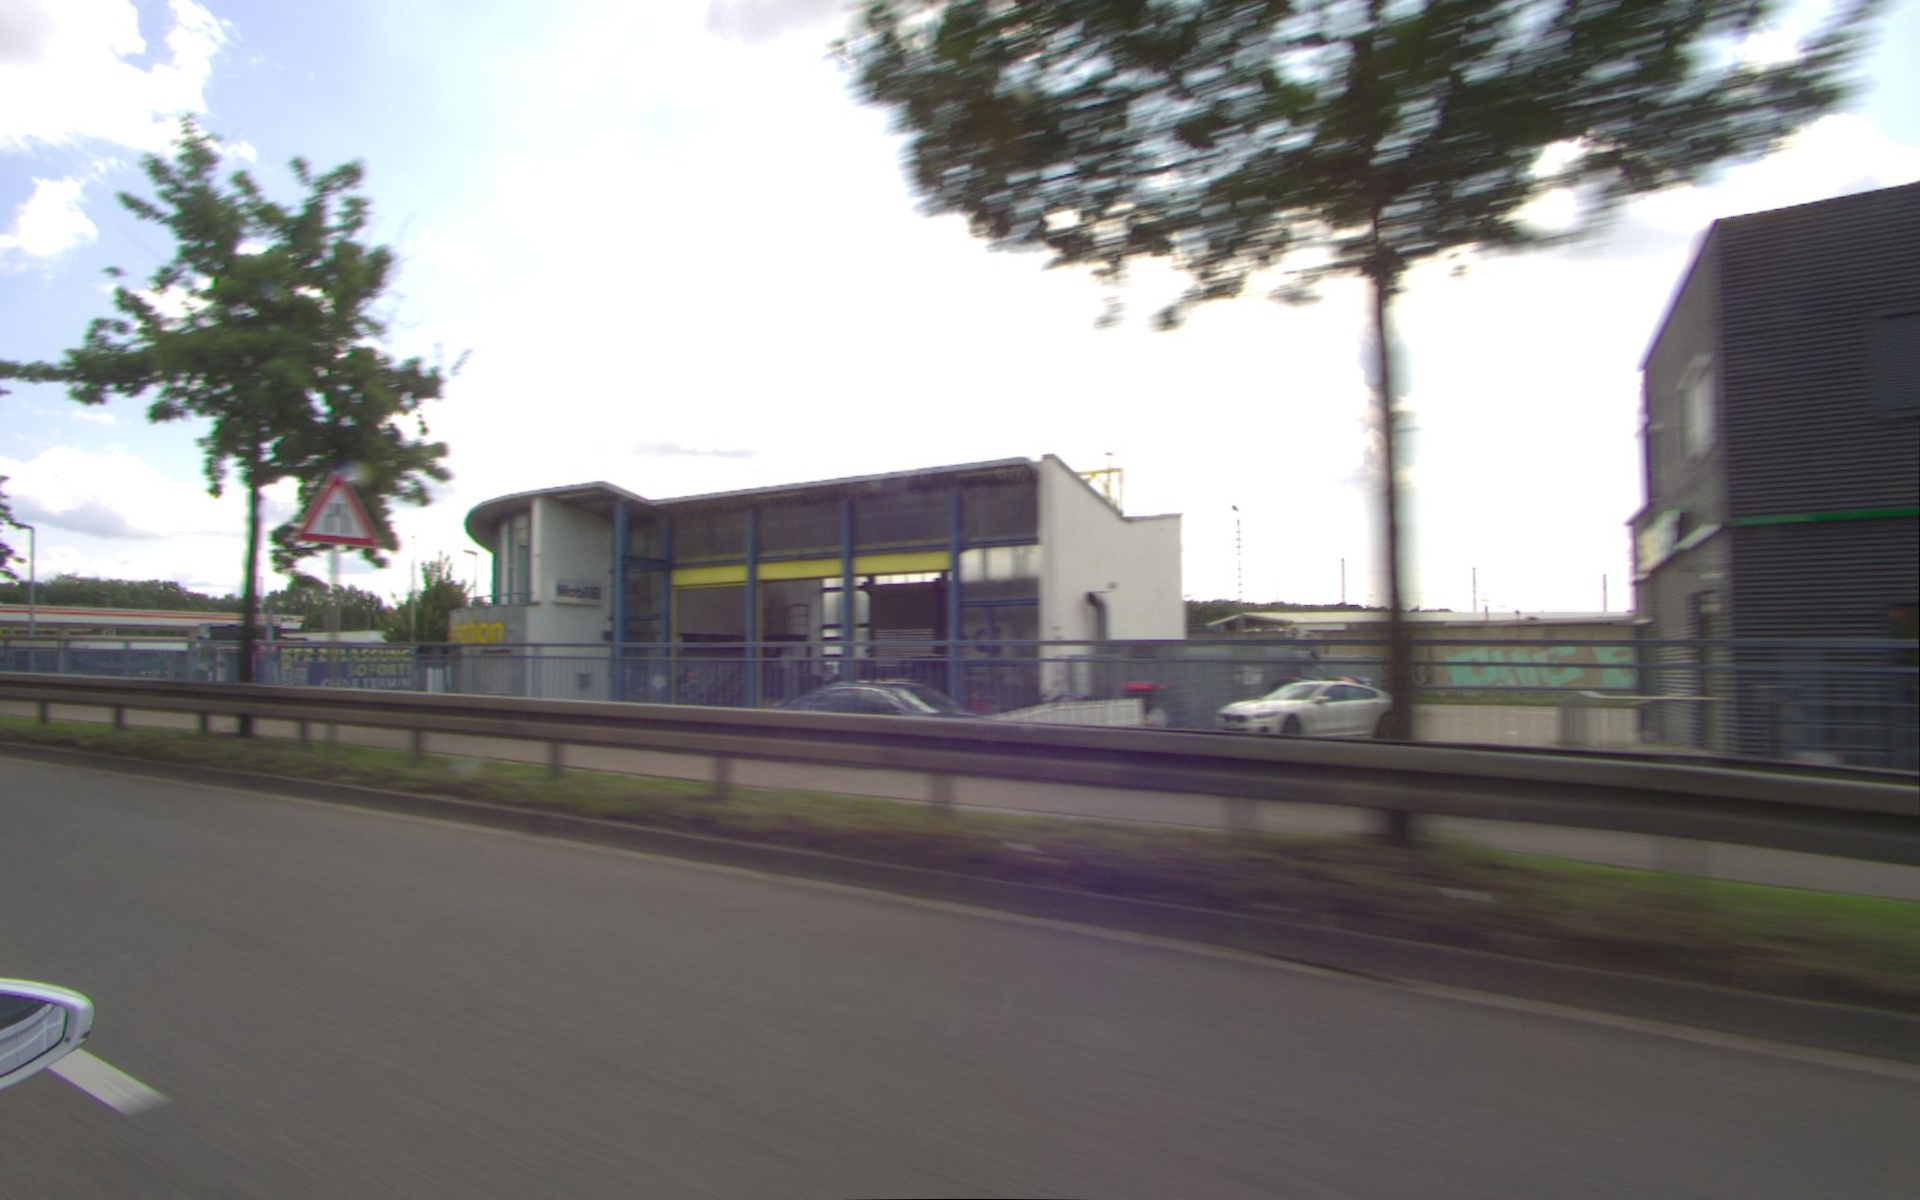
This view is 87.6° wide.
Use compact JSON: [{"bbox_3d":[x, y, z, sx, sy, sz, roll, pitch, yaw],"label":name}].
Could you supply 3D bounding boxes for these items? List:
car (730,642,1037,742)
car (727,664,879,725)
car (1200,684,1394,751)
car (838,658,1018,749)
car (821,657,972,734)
[{"bbox_3d":[-1.283,1.394,16.204,4.679,1.376,1.992,-1,-3,30],"label":"car"},{"bbox_3d":[-4.752,2.850,31.048,2.130,1.649,4.769,-1,-3,30],"label":"car"},{"bbox_3d":[7.901,2.681,23.420,4.318,1.301,1.990,2,-3,-31],"label":"car"},{"bbox_3d":[-0.625,2.520,25.495,2.197,2.038,5.807,-2,-4,25],"label":"car"},{"bbox_3d":[-1.772,2.778,29.787,2.199,2.038,4.770,-1,-4,30],"label":"car"}]
